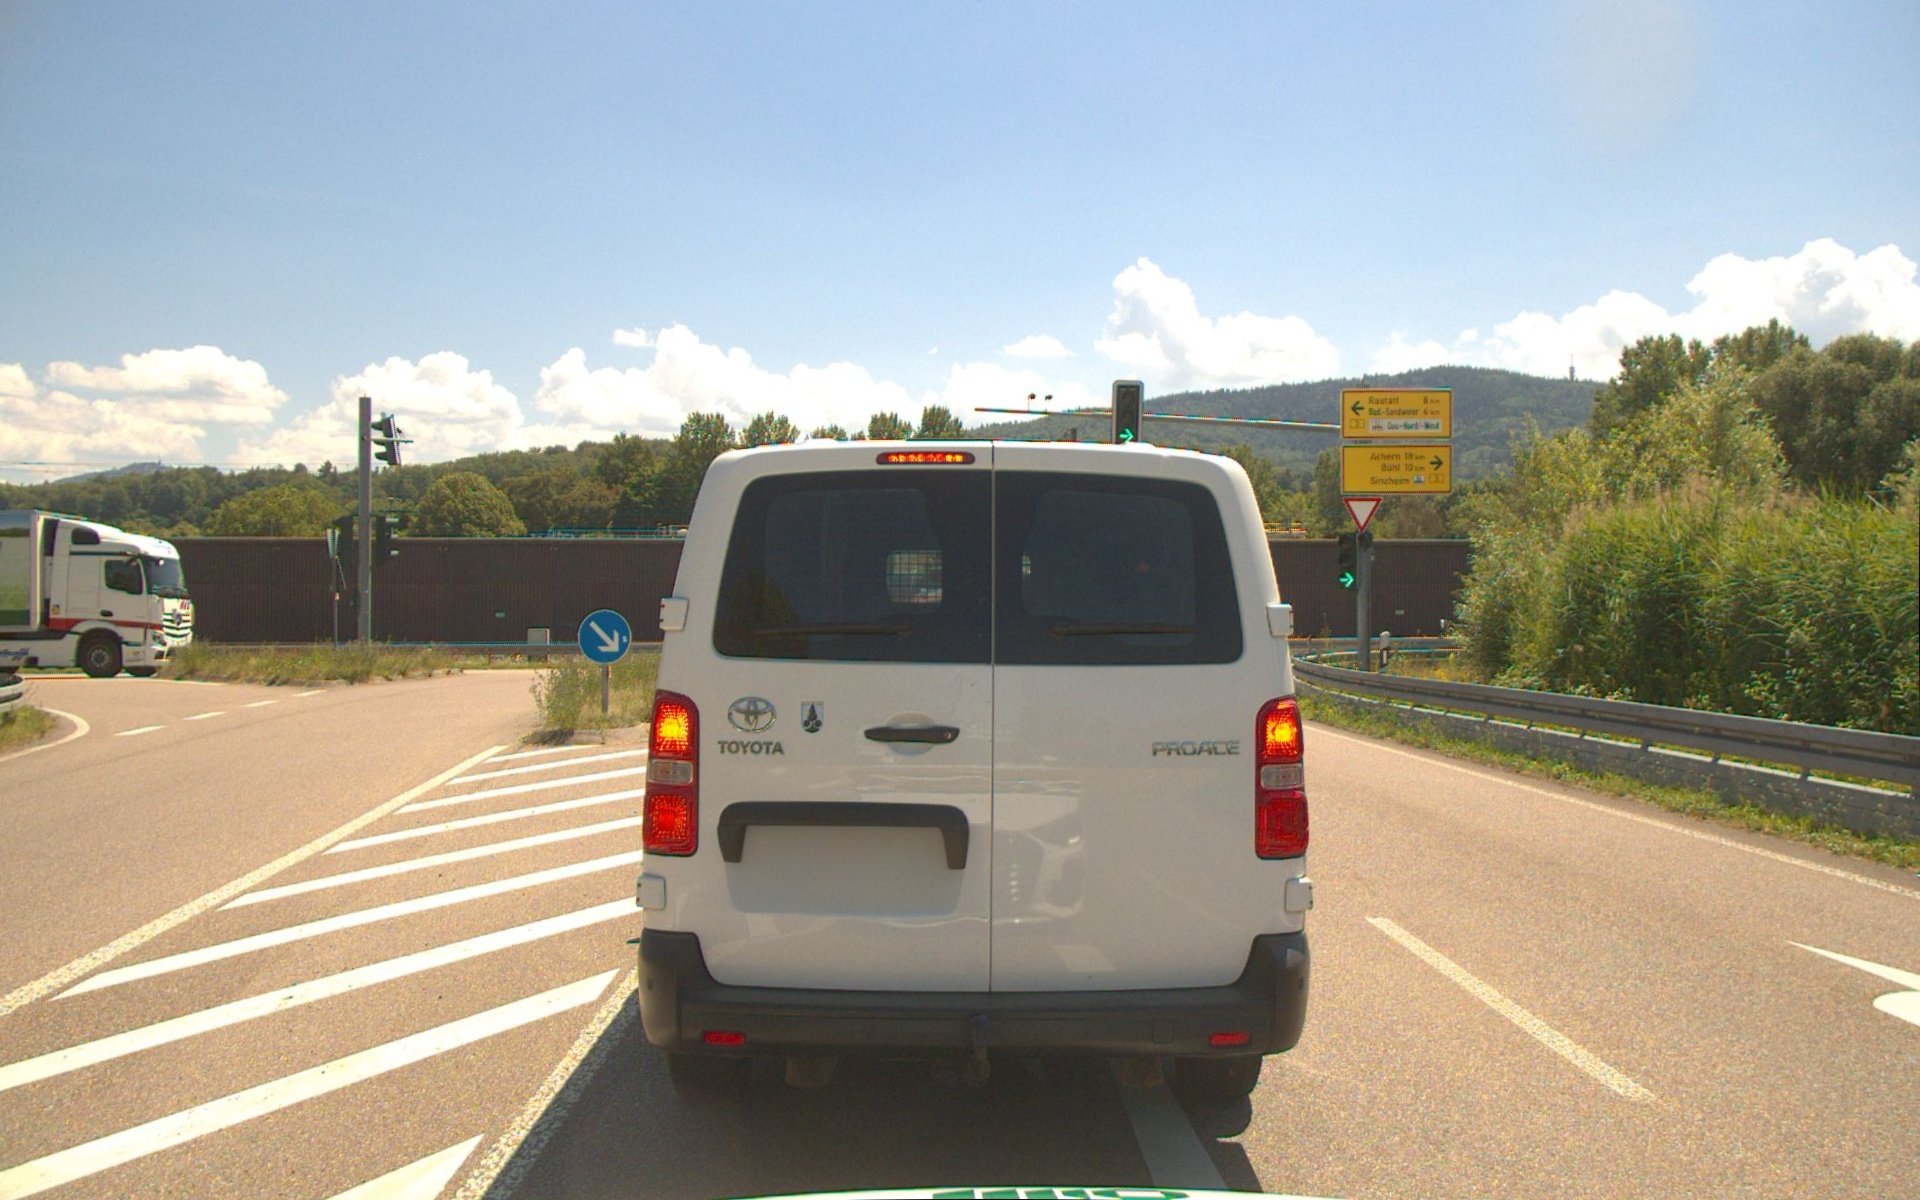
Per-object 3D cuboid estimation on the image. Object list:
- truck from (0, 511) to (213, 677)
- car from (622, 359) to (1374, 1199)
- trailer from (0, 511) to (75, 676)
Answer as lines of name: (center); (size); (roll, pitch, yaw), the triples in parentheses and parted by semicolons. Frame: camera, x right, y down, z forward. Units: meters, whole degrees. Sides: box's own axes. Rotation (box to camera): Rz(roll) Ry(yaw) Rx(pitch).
truck: (-22.410, -0.134, 41.776); (5.649, 4.024, 3.061); (0, -1, -3)
car: (0.064, 0.468, 5.921); (1.778, 2.053, 3.999); (0, 0, -1)
trailer: (-29.539, -0.166, 41.437); (12.877, 4.024, 3.060); (0, -1, -3)
